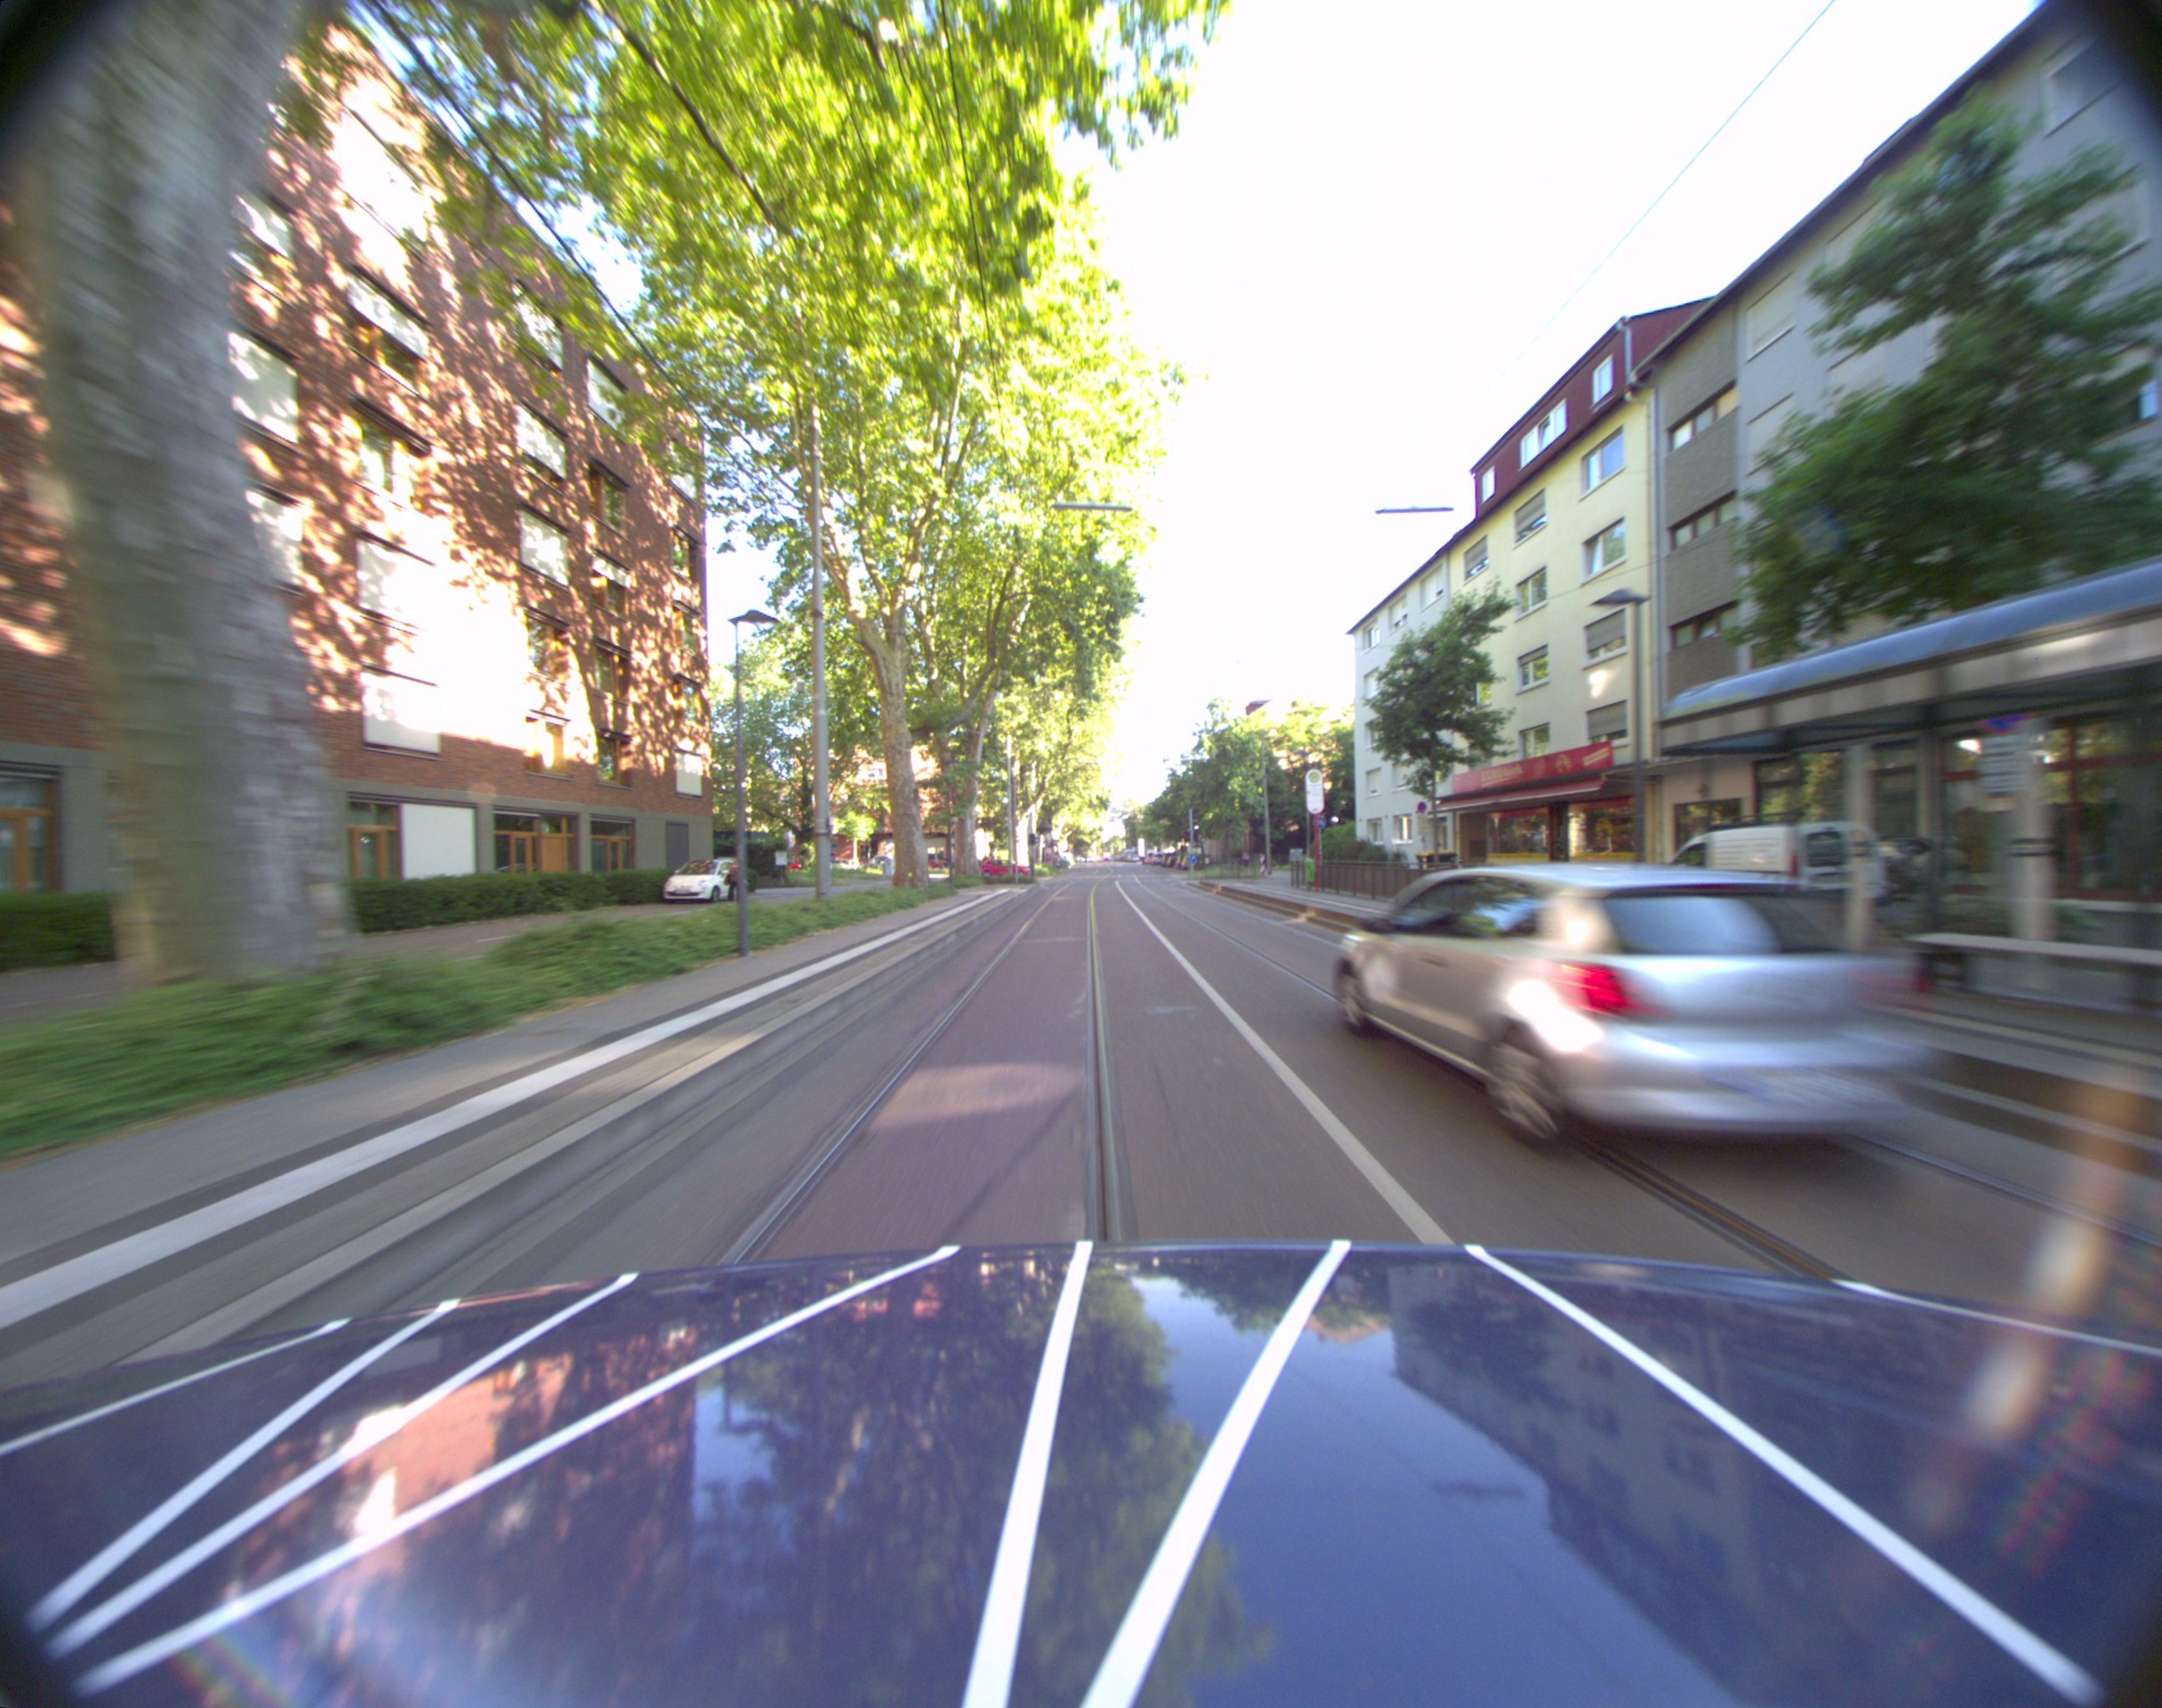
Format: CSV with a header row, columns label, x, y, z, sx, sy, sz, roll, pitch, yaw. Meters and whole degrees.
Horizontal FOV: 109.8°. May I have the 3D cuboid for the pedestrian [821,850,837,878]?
label,x,y,z,sx,sy,sz,roll,pitch,yaw
pedestrian,-15.876,0.620,47.819,0.689,1.704,0.703,-1,1,8

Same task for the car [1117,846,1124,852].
label,x,y,z,sx,sy,sz,roll,pitch,yaw
car,12.613,-1.541,242.854,1.998,1.741,3.677,-1,0,0

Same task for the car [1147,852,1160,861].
label,x,y,z,sx,sy,sz,roll,pitch,yaw
car,11.822,0.412,124.280,1.998,1.521,3.678,-1,0,3

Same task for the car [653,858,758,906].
label,x,y,z,sx,sy,sz,roll,pitch,yaw
car,-13.038,0.924,26.678,1.657,1.499,3.961,-1,0,1

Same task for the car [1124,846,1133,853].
label,x,y,z,sx,sy,sz,roll,pitch,yaw
car,11.827,-1.041,188.138,1.998,1.741,3.677,-1,0,0

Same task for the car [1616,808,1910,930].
label,x,y,z,sx,sy,sz,roll,pitch,yaw
car,12.277,0.234,14.108,1.808,1.923,4.049,-1,0,-1

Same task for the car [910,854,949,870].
label,x,y,z,sx,sy,sz,roll,pitch,yaw
car,-15.993,0.838,80.336,3.674,1.521,2.000,-1,0,2

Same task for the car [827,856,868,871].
label,x,y,z,sx,sy,sz,roll,pitch,yaw
car,-24.707,1.021,80.451,3.674,1.521,2.000,-1,0,2

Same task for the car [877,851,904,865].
label,x,y,z,sx,sy,sz,roll,pitch,yaw
car,-22.161,0.437,88.537,1.998,1.521,3.678,-1,0,3

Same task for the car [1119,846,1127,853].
label,x,y,z,sx,sy,sz,roll,pitch,yaw
car,11.514,-1.242,206.507,1.998,1.741,3.677,-1,0,0

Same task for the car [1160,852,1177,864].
label,x,y,z,sx,sy,sz,roll,pitch,yaw
car,11.446,0.457,99.345,1.998,1.521,3.678,-1,0,3

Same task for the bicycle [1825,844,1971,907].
label,x,y,z,sx,sy,sz,roll,pitch,yaw
bicycle,16.054,0.389,15.013,0.572,1.150,2.036,-1,0,-5

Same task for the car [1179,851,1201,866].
label,x,y,z,sx,sy,sz,roll,pitch,yaw
car,11.281,0.441,78.839,1.998,1.521,3.678,-1,0,3

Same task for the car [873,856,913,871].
label,x,y,z,sx,sy,sz,roll,pitch,yaw
car,-19.896,0.986,80.407,3.674,1.521,2.000,-1,0,2

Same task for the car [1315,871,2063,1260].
label,x,y,z,sx,sy,sz,roll,pitch,yaw
car,3.020,0.888,5.007,1.766,1.417,4.000,-1,0,1

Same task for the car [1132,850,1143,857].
label,x,y,z,sx,sy,sz,roll,pitch,yaw
car,12.273,-0.084,165.216,1.998,1.521,3.677,-1,0,0

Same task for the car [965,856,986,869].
label,x,y,z,sx,sy,sz,roll,pitch,yaw
car,-13.780,1.094,99.278,1.998,1.521,3.678,-1,0,3

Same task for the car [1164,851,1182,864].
label,x,y,z,sx,sy,sz,roll,pitch,yaw
car,11.391,0.418,94.520,1.998,1.521,3.678,-1,0,3

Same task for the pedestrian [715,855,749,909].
label,x,y,z,sx,sy,sz,roll,pitch,yaw
pedestrian,-11.192,0.881,24.397,0.710,1.681,0.748,-1,1,-1

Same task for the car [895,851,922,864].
label,x,y,z,sx,sy,sz,roll,pitch,yaw
car,-19.939,0.388,87.923,1.998,1.521,3.678,-1,0,3

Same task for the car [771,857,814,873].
label,x,y,z,sx,sy,sz,roll,pitch,yaw
car,-30.425,1.142,80.168,3.674,1.521,2.000,-1,0,2

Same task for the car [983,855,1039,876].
label,x,y,z,sx,sy,sz,roll,pitch,yaw
car,-5.166,0.833,56.197,3.872,1.521,2.000,-1,0,2

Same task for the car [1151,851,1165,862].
label,x,y,z,sx,sy,sz,roll,pitch,yaw
car,11.487,0.340,113.671,1.998,1.521,3.678,-1,0,3
